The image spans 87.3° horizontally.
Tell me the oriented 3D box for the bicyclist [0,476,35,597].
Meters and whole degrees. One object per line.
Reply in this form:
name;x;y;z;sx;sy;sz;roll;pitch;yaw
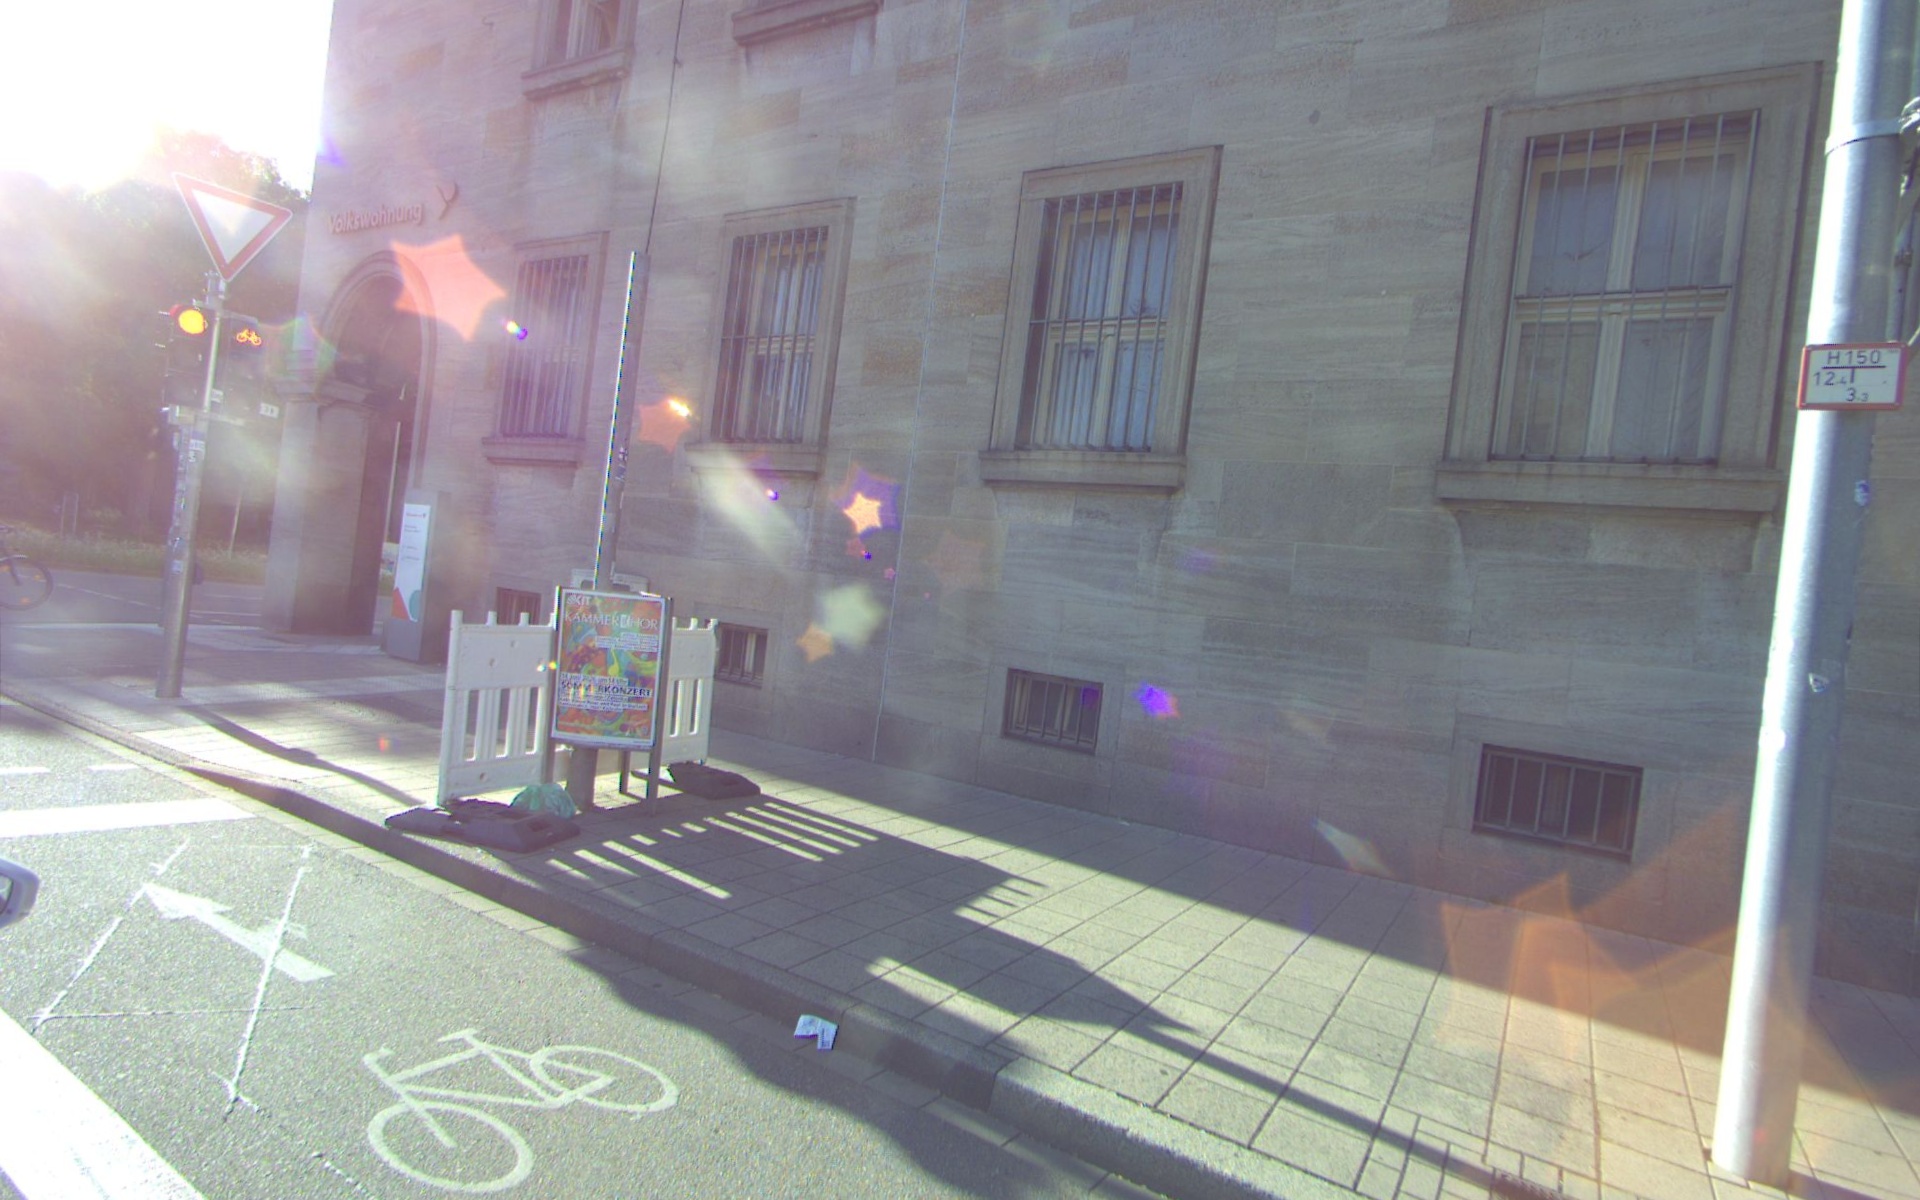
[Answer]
bicyclist;-12.894;-0.892;13.091;0.754;1.531;1.003;9;1;35

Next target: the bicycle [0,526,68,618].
bicycle;-12.962;-0.438;13.093;0.754;1.098;1.814;9;0;35
